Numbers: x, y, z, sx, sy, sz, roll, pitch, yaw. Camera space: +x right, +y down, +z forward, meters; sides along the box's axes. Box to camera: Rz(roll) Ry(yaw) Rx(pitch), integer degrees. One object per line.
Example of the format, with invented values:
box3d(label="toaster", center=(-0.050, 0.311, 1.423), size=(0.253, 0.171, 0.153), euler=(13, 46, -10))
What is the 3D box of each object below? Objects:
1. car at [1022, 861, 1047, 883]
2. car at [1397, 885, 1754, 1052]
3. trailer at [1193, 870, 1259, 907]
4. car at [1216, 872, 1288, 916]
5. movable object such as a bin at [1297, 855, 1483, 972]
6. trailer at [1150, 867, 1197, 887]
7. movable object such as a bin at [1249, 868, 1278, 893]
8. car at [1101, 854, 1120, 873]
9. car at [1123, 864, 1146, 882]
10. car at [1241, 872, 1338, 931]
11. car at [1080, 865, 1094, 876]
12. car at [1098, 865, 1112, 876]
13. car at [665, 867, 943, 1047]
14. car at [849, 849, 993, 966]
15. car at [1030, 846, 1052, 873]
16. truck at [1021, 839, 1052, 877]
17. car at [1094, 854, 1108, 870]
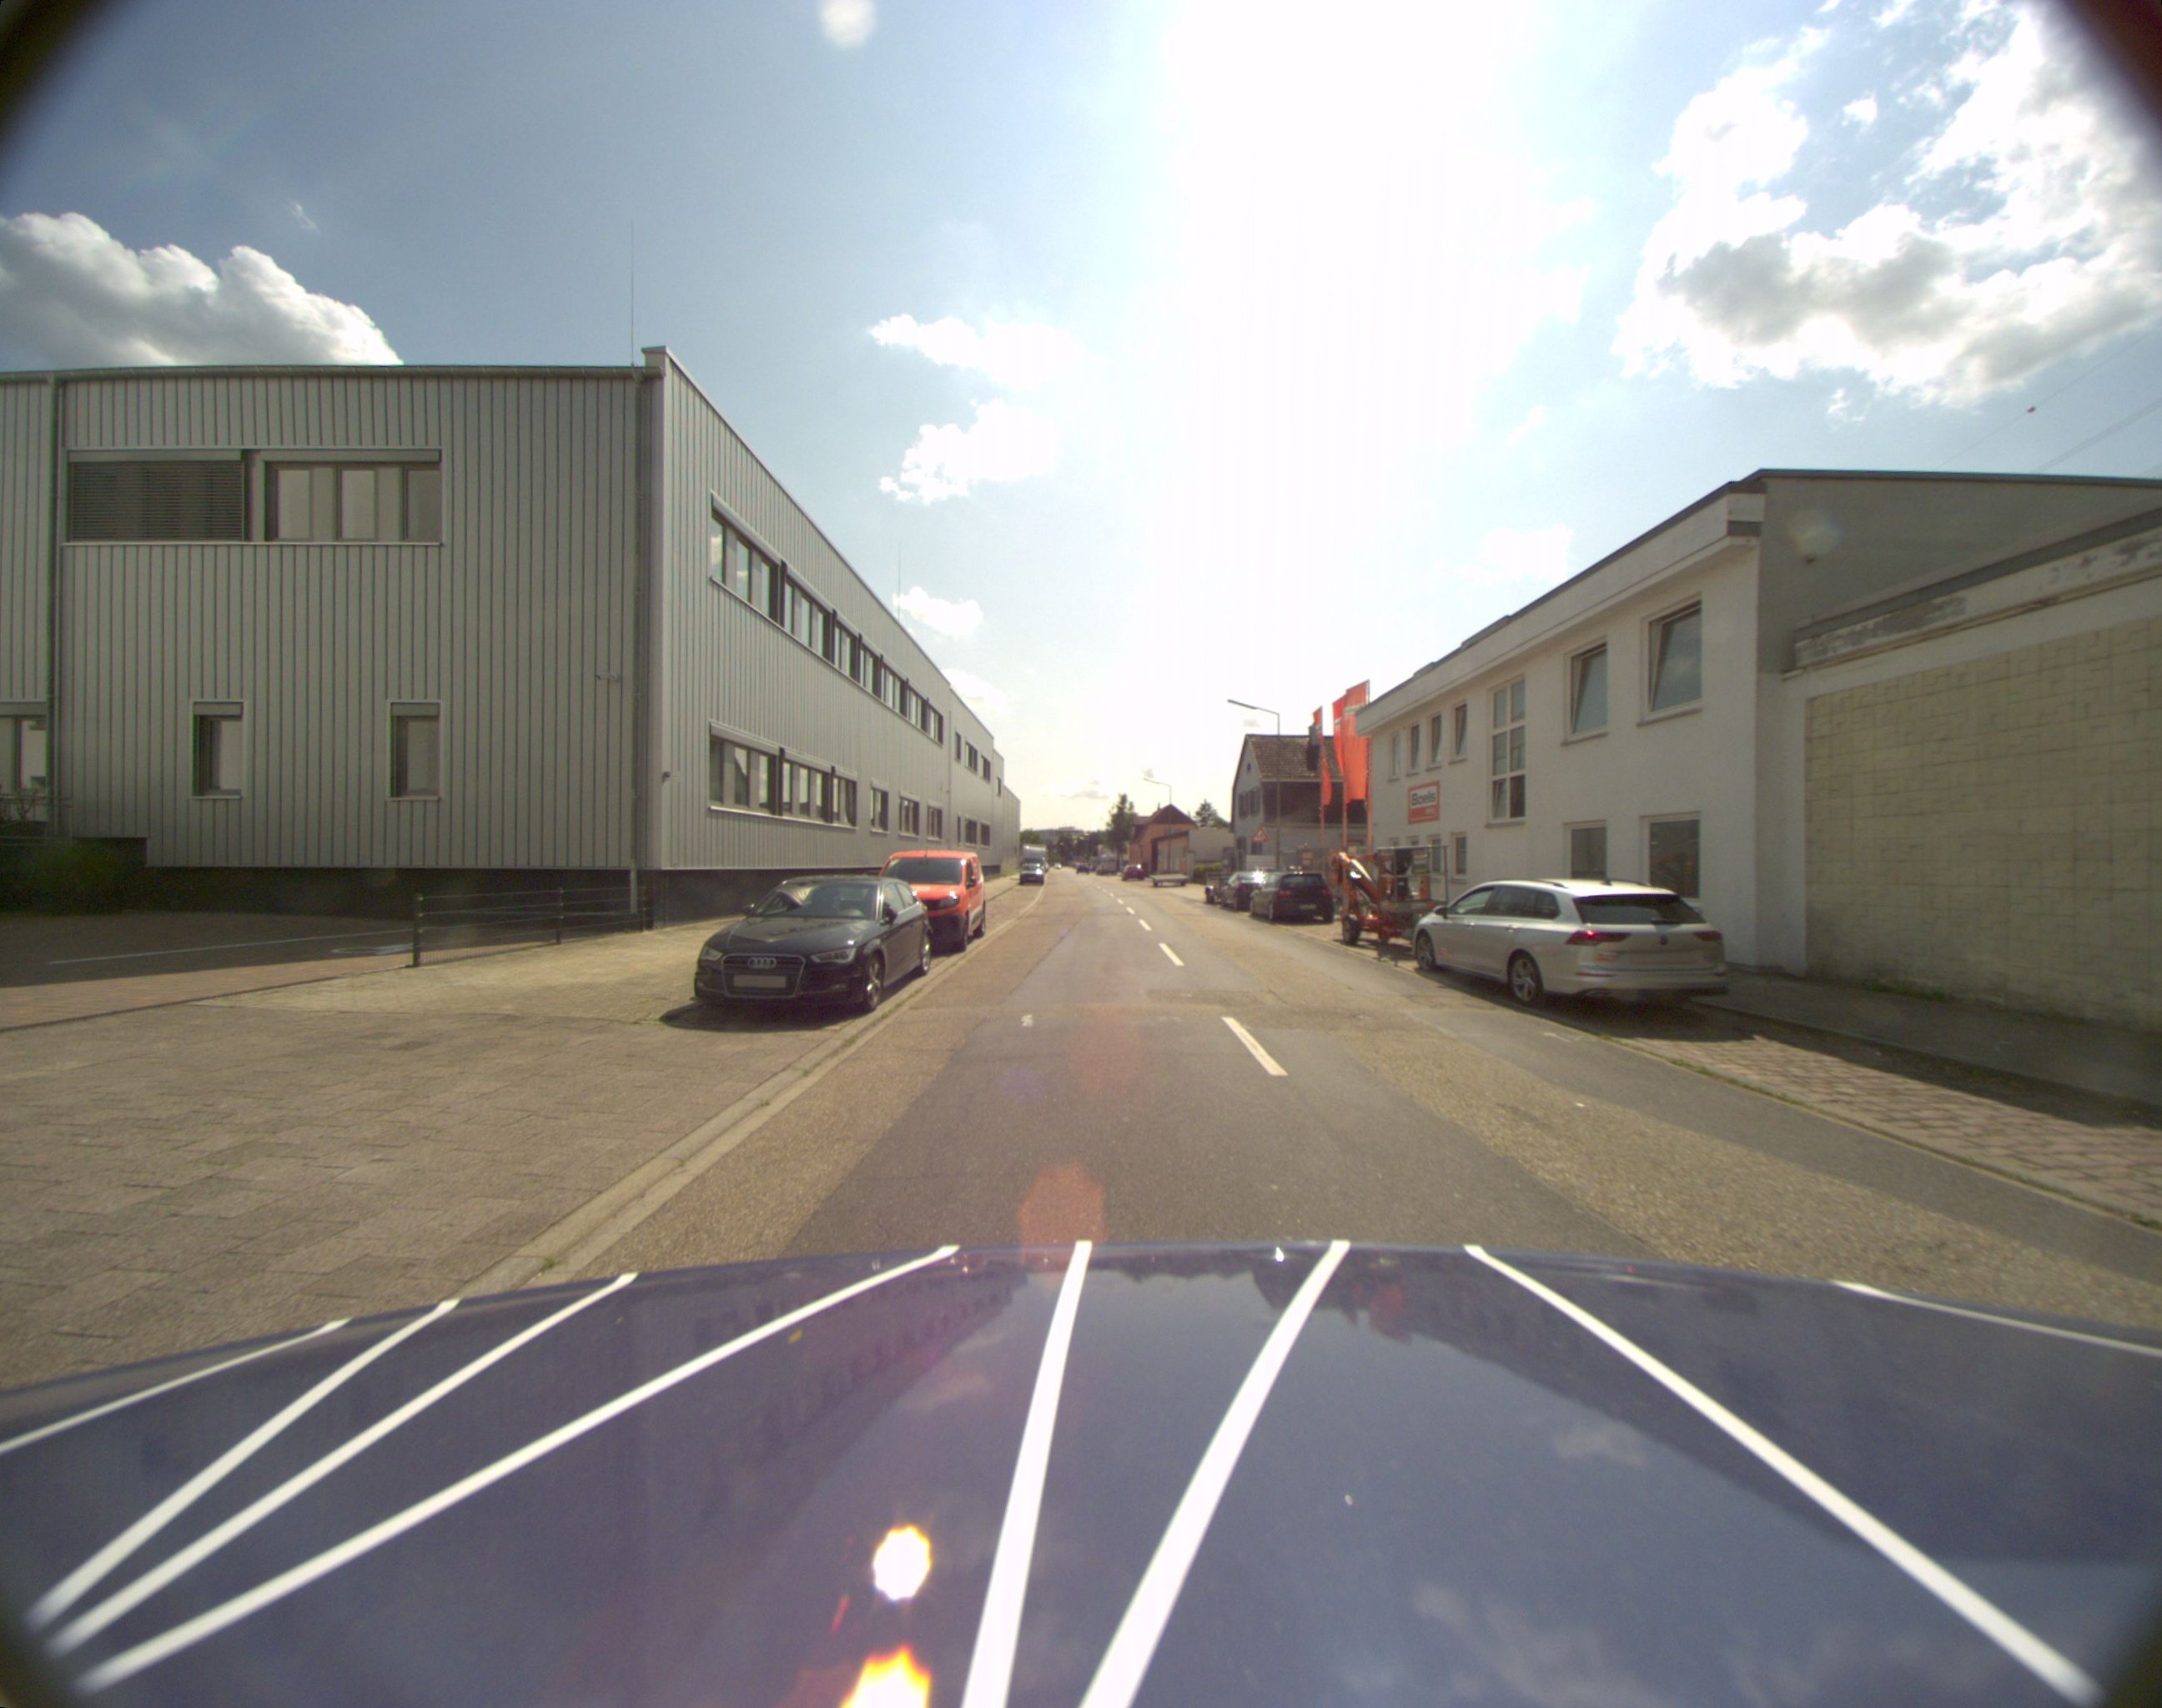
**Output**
box3d(label="car", center=(-3.450, 1.288, 56.939), size=(1.715, 1.502, 4.114), euler=(-2, 0, -2))
box3d(label="car", center=(5.806, 1.225, 9.742), size=(1.677, 1.446, 4.514), euler=(-1, 0, 1))
box3d(label="trailer", center=(6.132, 1.431, 32.717), size=(1.772, 1.368, 5.051), euler=(-1, 0, -1))
box3d(label="car", center=(6.180, 1.405, 27.791), size=(1.677, 1.368, 3.884), euler=(-1, 0, -1))
box3d(label="movable object such as a bin", center=(5.993, 1.042, 15.531), size=(1.618, 1.907, 5.138), euler=(-3, -1, 0))
box3d(label="trailer", center=(6.183, 1.539, 51.532), size=(2.457, 1.157, 6.053), euler=(-1, 0, 0))
box3d(label="movable object such as a bin", center=(10.599, 1.538, 44.059), size=(1.319, 1.419, 1.188), euler=(1, 0, -4))
box3d(label="car", center=(3.975, 1.256, 102.381), size=(2.079, 2.527, 5.823), euler=(-2, 0, -2))
box3d(label="car", center=(4.956, 1.741, 70.908), size=(1.714, 1.459, 4.629), euler=(-2, 0, -1))
box3d(label="car", center=(6.054, 1.330, 22.569), size=(1.677, 1.446, 4.224), euler=(-1, 0, 0))
box3d(label="car", center=(0.762, 2.312, 104.812), size=(1.740, 1.433, 3.999), euler=(1, 0, -2))
box3d(label="car", center=(3.435, 2.365, 109.833), size=(1.658, 1.482, 3.715), euler=(-2, 0, -2))
box3d(label="car", center=(-2.958, 0.997, 9.151), size=(1.663, 1.548, 4.178), euler=(-2, 0, 2))
box3d(label="car", center=(-2.918, 0.899, 14.859), size=(1.877, 1.881, 4.452), euler=(-2, 0, -1))
box3d(label="car", center=(-5.350, 0.781, 103.112), size=(2.419, 3.269, 6.897), euler=(6, 0, -2))
box3d(label="truck", center=(-4.177, 0.369, 70.609), size=(2.608, 3.207, 8.075), euler=(-2, 0, -4))
box3d(label="car", center=(3.397, 1.292, 129.011), size=(1.999, 2.556, 5.823), euler=(-2, 0, -2))
